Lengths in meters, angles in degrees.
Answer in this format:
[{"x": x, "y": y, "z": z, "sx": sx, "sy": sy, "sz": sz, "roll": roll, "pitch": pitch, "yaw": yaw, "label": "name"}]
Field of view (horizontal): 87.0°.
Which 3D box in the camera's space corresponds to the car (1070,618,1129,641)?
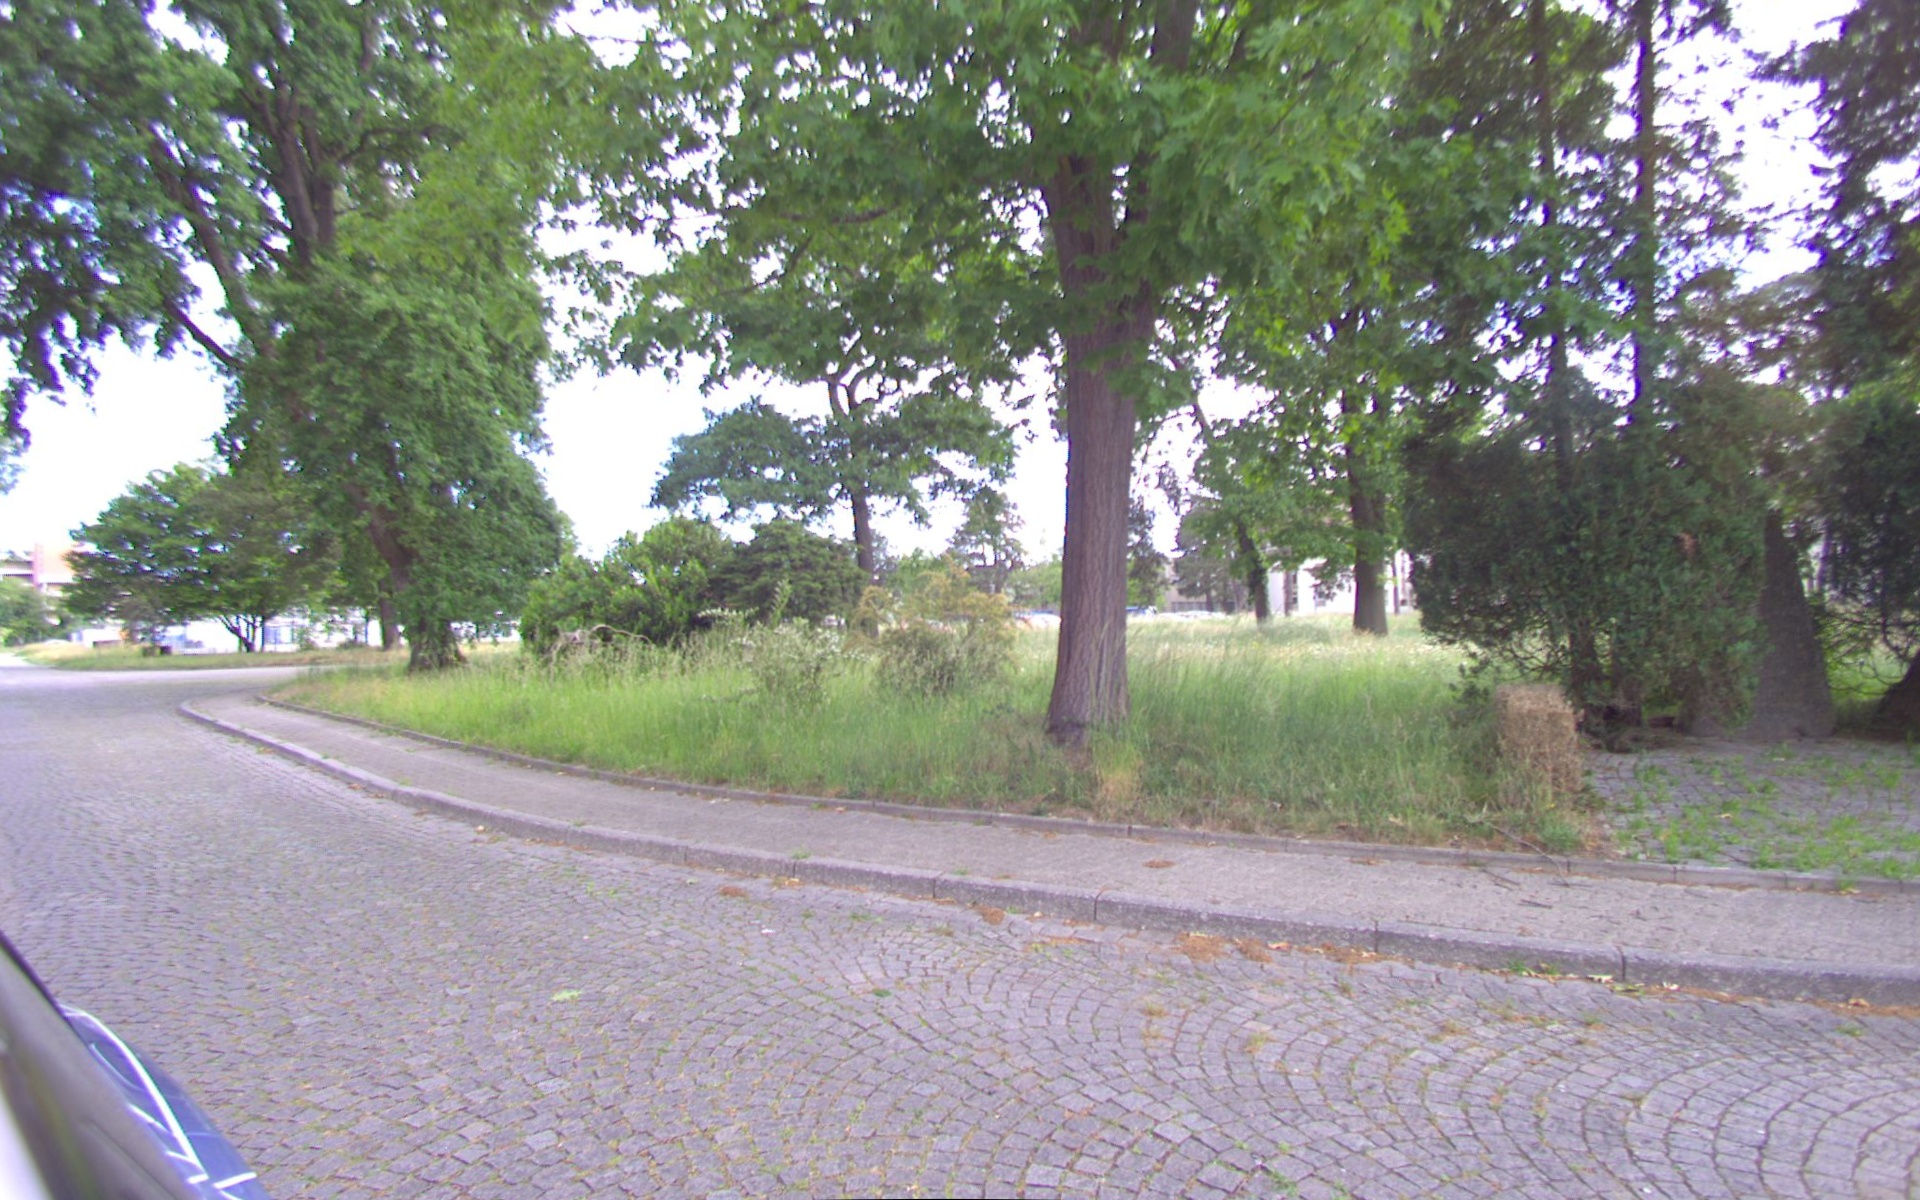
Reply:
[{"x": 9.393, "y": 1.989, "z": 68.133, "sx": 3.696, "sy": 1.349, "sz": 1.561, "roll": -5, "pitch": -3, "yaw": 45, "label": "car"}]
